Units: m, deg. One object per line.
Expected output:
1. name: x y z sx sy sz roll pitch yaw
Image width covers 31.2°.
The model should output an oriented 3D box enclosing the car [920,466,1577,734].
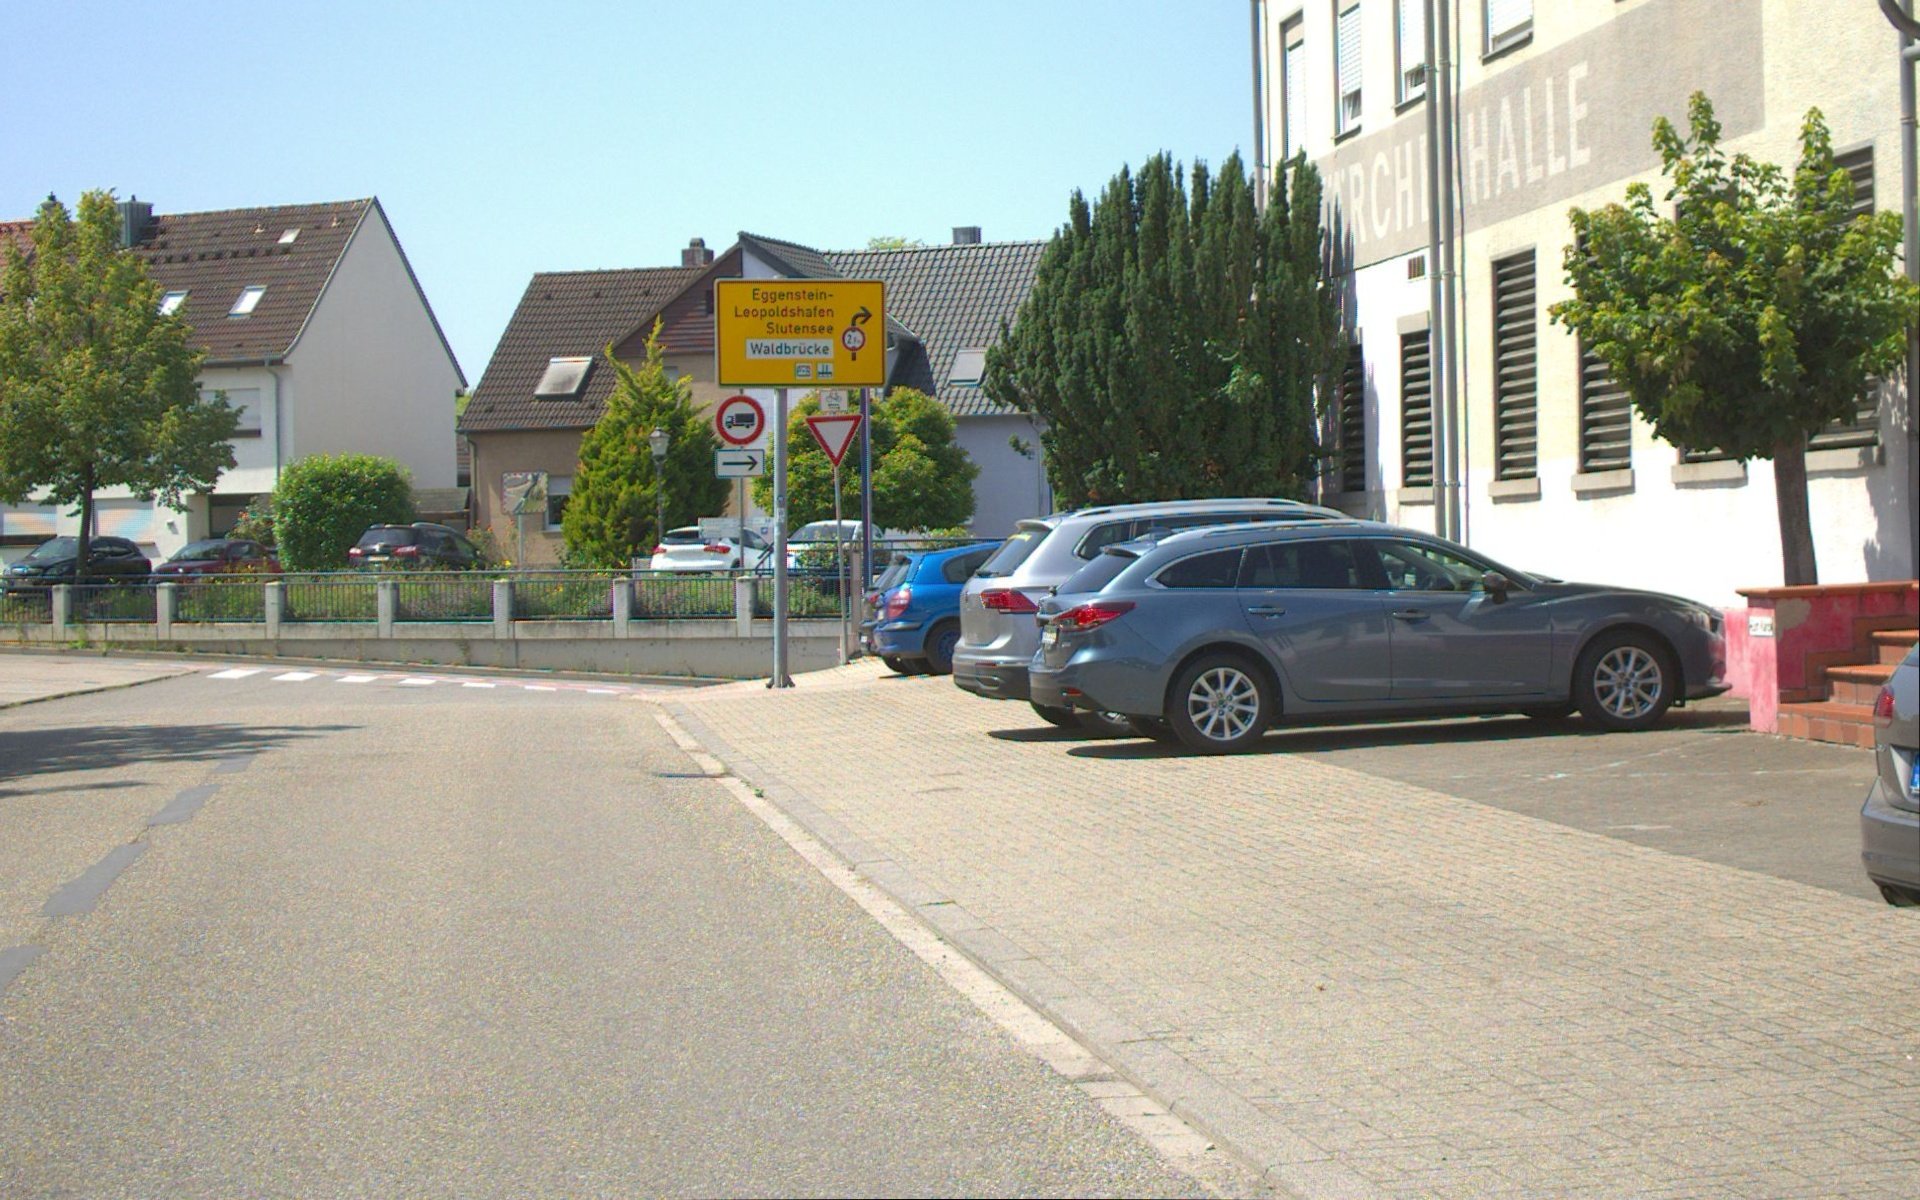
1. car: 2.095 -0.029 25.578 4.452 1.691 1.923 -3 1 -10

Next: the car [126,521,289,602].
1. car: -16.572 -0.833 75.869 1.869 1.581 3.606 3 0 18

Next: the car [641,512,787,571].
1. car: -5.112 -1.212 71.867 1.827 1.016 3.456 3 0 18

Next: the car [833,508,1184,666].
1. car: 0.571 -0.151 42.202 3.894 1.485 1.810 -6 0 -10

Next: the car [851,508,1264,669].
1. car: 1.074 -0.119 38.973 4.321 1.435 1.780 -4 -1 -9

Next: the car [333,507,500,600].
1. car: -11.739 -0.979 74.534 1.869 1.791 3.996 3 0 18

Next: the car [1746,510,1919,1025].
1. car: 4.905 0.369 10.313 4.525 1.449 1.918 -3 1 -8

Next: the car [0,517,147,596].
1. car: -20.106 -0.973 77.298 1.869 1.581 3.606 3 0 18

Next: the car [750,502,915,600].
1. car: -2.596 -0.988 71.047 1.995 1.791 4.192 3 0 18

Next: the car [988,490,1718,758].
1. car: 2.604 0.126 23.356 4.499 1.514 2.001 -3 1 -9
